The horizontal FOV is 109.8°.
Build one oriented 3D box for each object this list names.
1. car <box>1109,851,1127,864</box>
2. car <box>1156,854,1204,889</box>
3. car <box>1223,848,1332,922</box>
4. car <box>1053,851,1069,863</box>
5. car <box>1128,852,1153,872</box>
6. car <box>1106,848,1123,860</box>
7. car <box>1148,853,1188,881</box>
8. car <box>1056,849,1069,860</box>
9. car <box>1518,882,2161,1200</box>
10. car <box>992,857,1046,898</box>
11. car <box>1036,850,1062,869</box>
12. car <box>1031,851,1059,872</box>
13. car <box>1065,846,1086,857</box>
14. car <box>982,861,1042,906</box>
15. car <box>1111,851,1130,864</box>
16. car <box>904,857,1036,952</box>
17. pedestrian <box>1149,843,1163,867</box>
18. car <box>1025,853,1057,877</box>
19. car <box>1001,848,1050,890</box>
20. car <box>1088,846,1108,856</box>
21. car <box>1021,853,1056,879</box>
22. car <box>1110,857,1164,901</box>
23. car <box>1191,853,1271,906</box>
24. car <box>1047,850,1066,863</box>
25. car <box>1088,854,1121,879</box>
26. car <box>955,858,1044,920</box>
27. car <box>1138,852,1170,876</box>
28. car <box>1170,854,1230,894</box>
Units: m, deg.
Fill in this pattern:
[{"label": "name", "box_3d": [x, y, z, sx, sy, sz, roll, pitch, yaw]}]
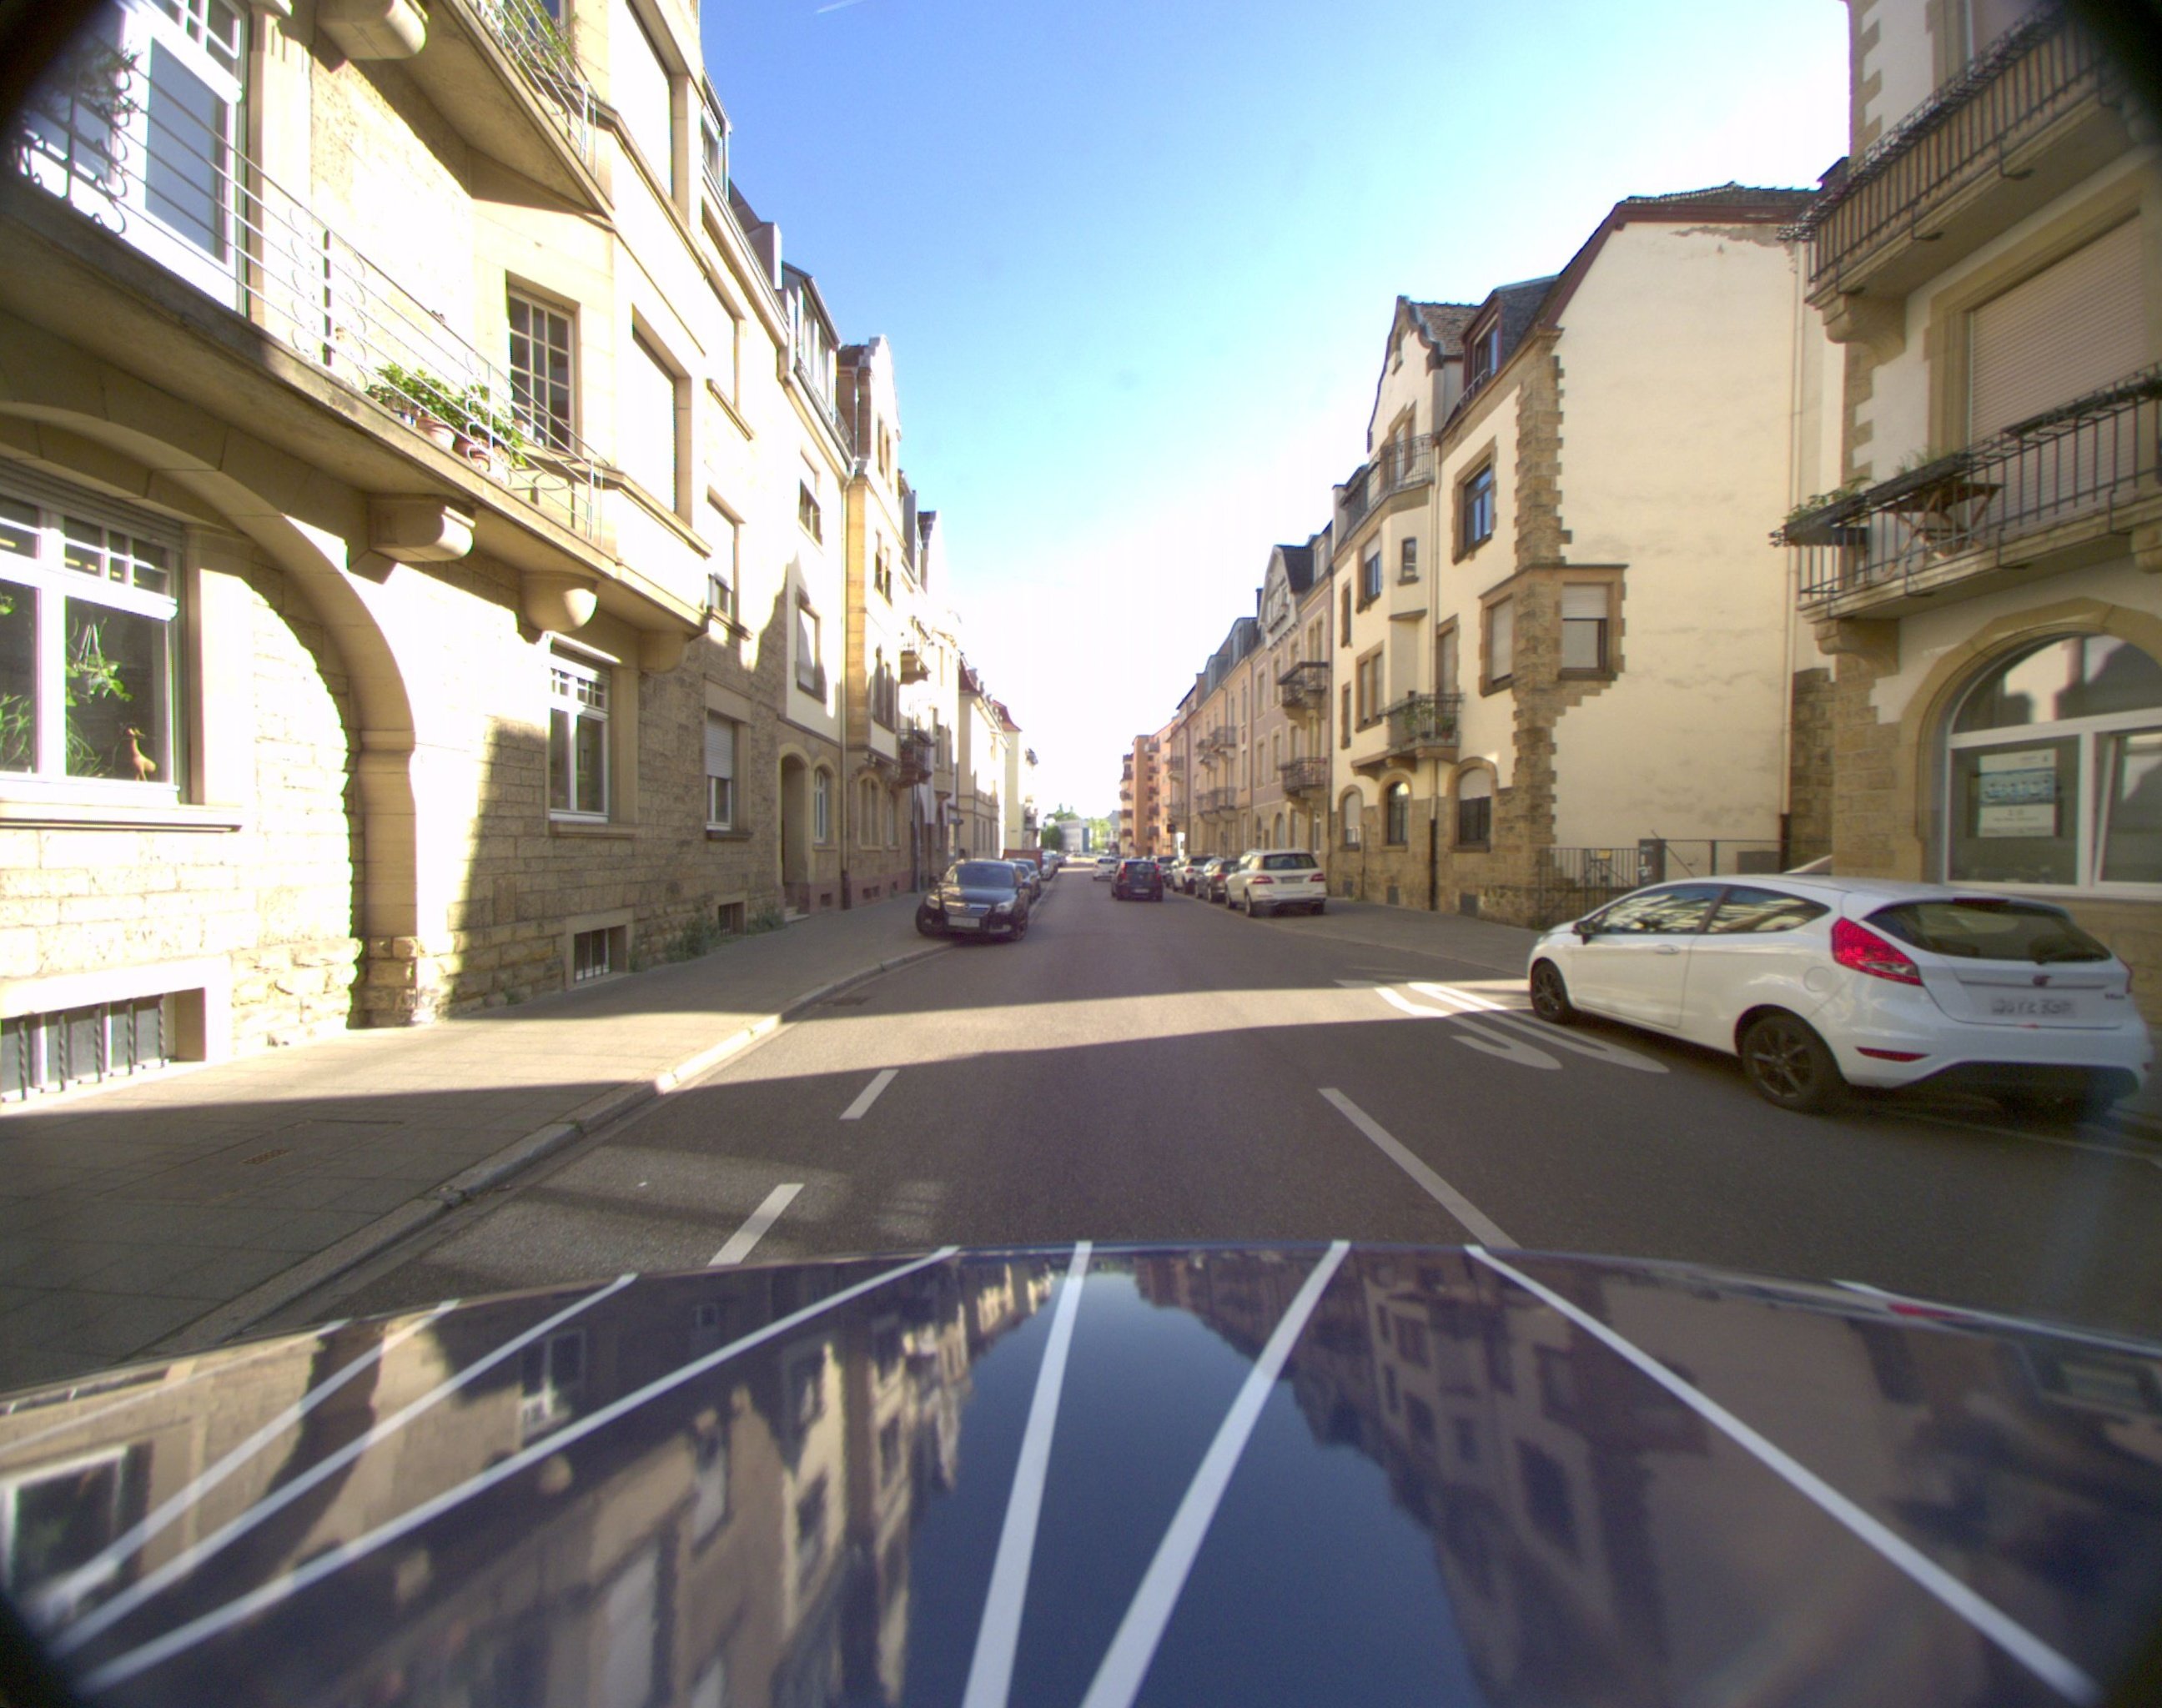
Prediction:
[{"label": "car", "box_3d": [4.625, 0.390, 96.204, 2.005, 1.500, 4.320, 1, 1, -1]}, {"label": "car", "box_3d": [4.858, 0.816, 37.805, 1.857, 1.491, 4.318, -2, 1, 1]}, {"label": "car", "box_3d": [5.197, 0.751, 20.691, 1.890, 1.717, 4.211, -2, 1, 1]}, {"label": "car", "box_3d": [-2.581, 0.430, 99.951, 2.005, 1.500, 4.320, 1, 1, -1]}, {"label": "car", "box_3d": [4.895, 0.640, 62.971, 1.793, 1.500, 4.320, -2, 1, 1]}, {"label": "car", "box_3d": [4.490, 0.002, 101.955, 2.005, 1.500, 4.320, 1, 1, -1]}, {"label": "car", "box_3d": [5.207, 0.725, 45.862, 1.890, 1.500, 4.320, -2, 1, 1]}, {"label": "car", "box_3d": [-2.939, 0.067, 123.334, 2.005, 1.722, 4.320, 1, 1, -1]}, {"label": "car", "box_3d": [5.113, 1.014, 5.656, 1.656, 1.449, 3.643, 2, 0, 2]}, {"label": "car", "box_3d": [-2.383, 0.891, 30.119, 1.824, 1.415, 4.320, 1, 1, -1]}, {"label": "car", "box_3d": [-2.670, 0.451, 64.497, 2.005, 1.500, 4.320, 1, 1, -1]}, {"label": "car", "box_3d": [-2.743, 0.535, 58.664, 2.005, 1.500, 4.320, 1, 1, -1]}, {"label": "car", "box_3d": [-1.090, -0.446, 148.394, 3.997, 2.002, 2.000, -2, 1, 0]}, {"label": "car", "box_3d": [-2.231, 0.926, 25.376, 1.661, 1.272, 3.729, 1, 1, -1]}, {"label": "car", "box_3d": [4.675, 0.406, 91.390, 2.005, 1.500, 4.320, 1, 1, -1]}, {"label": "car", "box_3d": [-2.048, 0.881, 15.222, 2.024, 1.500, 4.111, 2, 1, -1]}, {"label": "pedestrian", "box_3d": [6.356, 0.060, 64.449, 0.952, 2.002, 1.066, -2, 1, 0]}, {"label": "car", "box_3d": [-2.746, 0.737, 52.639, 2.005, 1.500, 4.320, 1, 1, -1]}, {"label": "car", "box_3d": [-2.557, 0.650, 35.808, 2.005, 1.828, 4.320, 1, 1, -1]}, {"label": "car", "box_3d": [3.731, -0.714, 169.374, 3.989, 2.002, 2.003, -2, 1, 31]}, {"label": "car", "box_3d": [-2.651, 0.717, 47.866, 2.005, 1.500, 4.320, 1, 1, -1]}, {"label": "car", "box_3d": [1.965, 0.857, 27.425, 1.656, 1.449, 3.642, 0, 1, -1]}, {"label": "car", "box_3d": [5.125, 0.820, 26.543, 1.890, 1.500, 4.320, -4, 1, 1]}, {"label": "car", "box_3d": [-2.842, 0.265, 88.977, 2.005, 1.500, 4.320, 1, 1, -1]}, {"label": "car", "box_3d": [1.440, 0.764, 47.338, 1.703, 1.474, 3.533, 1, 0, -4]}, {"label": "car", "box_3d": [-2.095, 0.874, 20.798, 2.005, 1.499, 4.321, 1, 0, -1]}, {"label": "car", "box_3d": [4.994, 0.667, 52.349, 1.809, 1.500, 4.003, -2, 1, 1]}, {"label": "car", "box_3d": [4.986, 0.794, 32.364, 1.890, 1.500, 4.320, -2, 1, 1]}]
